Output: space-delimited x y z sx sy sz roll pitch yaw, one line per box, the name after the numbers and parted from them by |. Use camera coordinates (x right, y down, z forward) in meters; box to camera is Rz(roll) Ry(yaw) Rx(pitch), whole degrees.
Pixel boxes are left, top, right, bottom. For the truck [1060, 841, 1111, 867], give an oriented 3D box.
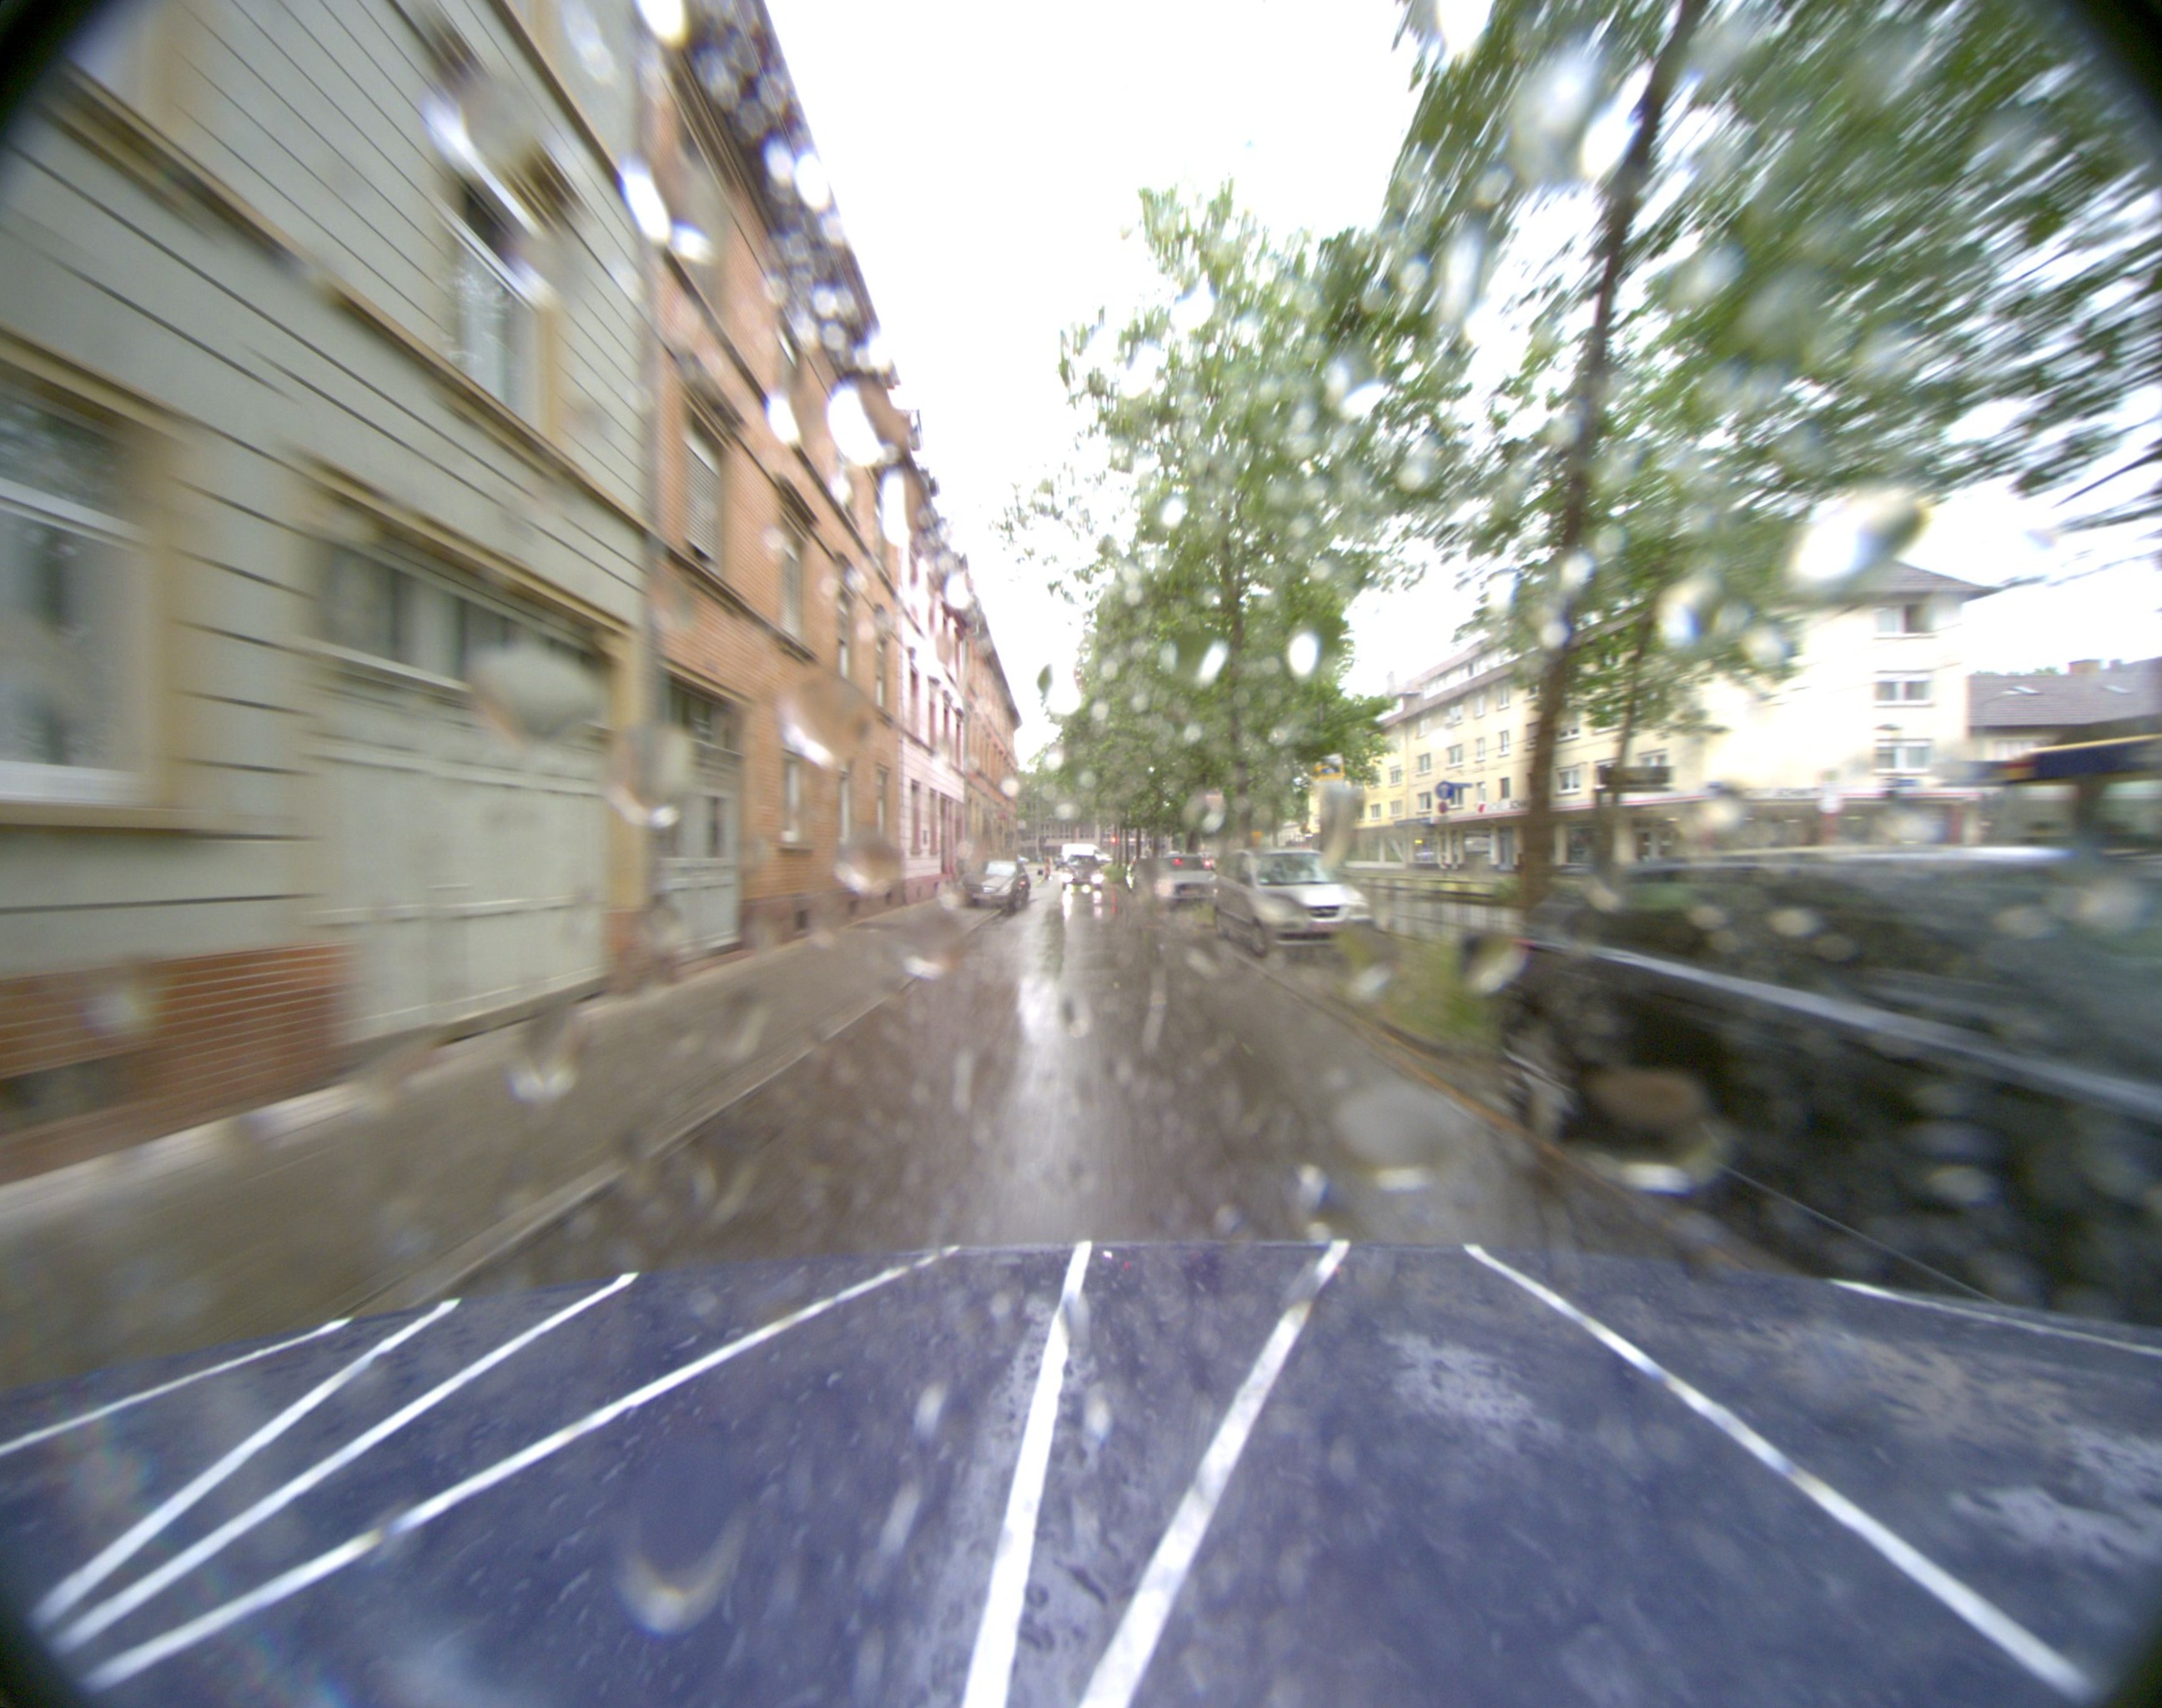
0.544 0.001 94.536 5.855 3.152 2.699 1 2 -10 | truck

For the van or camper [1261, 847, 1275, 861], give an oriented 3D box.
34.371 -0.093 139.463 2.178 2.457 5.977 0 1 17 | van or camper

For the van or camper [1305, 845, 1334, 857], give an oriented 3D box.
43.168 -0.497 137.544 4.648 2.063 2.001 1 1 9 | van or camper

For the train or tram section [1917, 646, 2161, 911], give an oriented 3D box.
16.123 -0.890 5.749 3.114 3.538 14.570 0 2 -2 | train or tram section

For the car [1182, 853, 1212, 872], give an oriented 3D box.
9.059 0.617 59.651 1.746 1.389 4.130 -1 0 0 | car

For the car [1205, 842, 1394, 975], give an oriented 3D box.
3.129 0.717 11.640 1.628 1.672 3.658 -2 0 -3 | car

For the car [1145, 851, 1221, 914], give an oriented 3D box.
2.833 0.738 21.902 1.703 1.626 4.354 0 0 1 | car

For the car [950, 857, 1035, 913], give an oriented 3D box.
-2.580 0.863 23.237 1.818 1.412 4.697 3 0 2 | car

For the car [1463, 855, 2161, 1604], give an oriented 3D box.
3.076 0.804 2.331 1.653 1.492 4.118 -2 1 -1 | car

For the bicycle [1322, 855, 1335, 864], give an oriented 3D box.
24.293 0.523 74.579 0.613 0.891 2.046 0 1 0 | bicycle

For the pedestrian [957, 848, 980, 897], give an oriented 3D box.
-3.954 0.630 26.725 0.640 1.675 0.603 2 1 -1 | pedestrian

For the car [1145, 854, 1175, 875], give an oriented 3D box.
5.733 0.728 55.784 1.746 1.471 4.431 -1 0 0 | car

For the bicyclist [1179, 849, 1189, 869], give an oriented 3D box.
9.149 0.447 67.496 0.714 1.706 0.889 0 2 -3 | bicyclist

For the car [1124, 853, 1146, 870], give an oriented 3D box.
4.989 0.673 70.437 1.739 1.480 4.500 -1 0 0 | car

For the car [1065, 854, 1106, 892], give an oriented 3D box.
0.173 0.901 37.891 1.913 1.637 4.678 -1 2 -1 | car

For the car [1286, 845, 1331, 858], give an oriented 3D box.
29.484 -0.322 98.491 5.338 1.583 1.946 -1 0 -12 | car

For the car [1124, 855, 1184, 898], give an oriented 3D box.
2.845 0.825 30.555 1.833 1.495 4.612 -2 1 -1 | car
